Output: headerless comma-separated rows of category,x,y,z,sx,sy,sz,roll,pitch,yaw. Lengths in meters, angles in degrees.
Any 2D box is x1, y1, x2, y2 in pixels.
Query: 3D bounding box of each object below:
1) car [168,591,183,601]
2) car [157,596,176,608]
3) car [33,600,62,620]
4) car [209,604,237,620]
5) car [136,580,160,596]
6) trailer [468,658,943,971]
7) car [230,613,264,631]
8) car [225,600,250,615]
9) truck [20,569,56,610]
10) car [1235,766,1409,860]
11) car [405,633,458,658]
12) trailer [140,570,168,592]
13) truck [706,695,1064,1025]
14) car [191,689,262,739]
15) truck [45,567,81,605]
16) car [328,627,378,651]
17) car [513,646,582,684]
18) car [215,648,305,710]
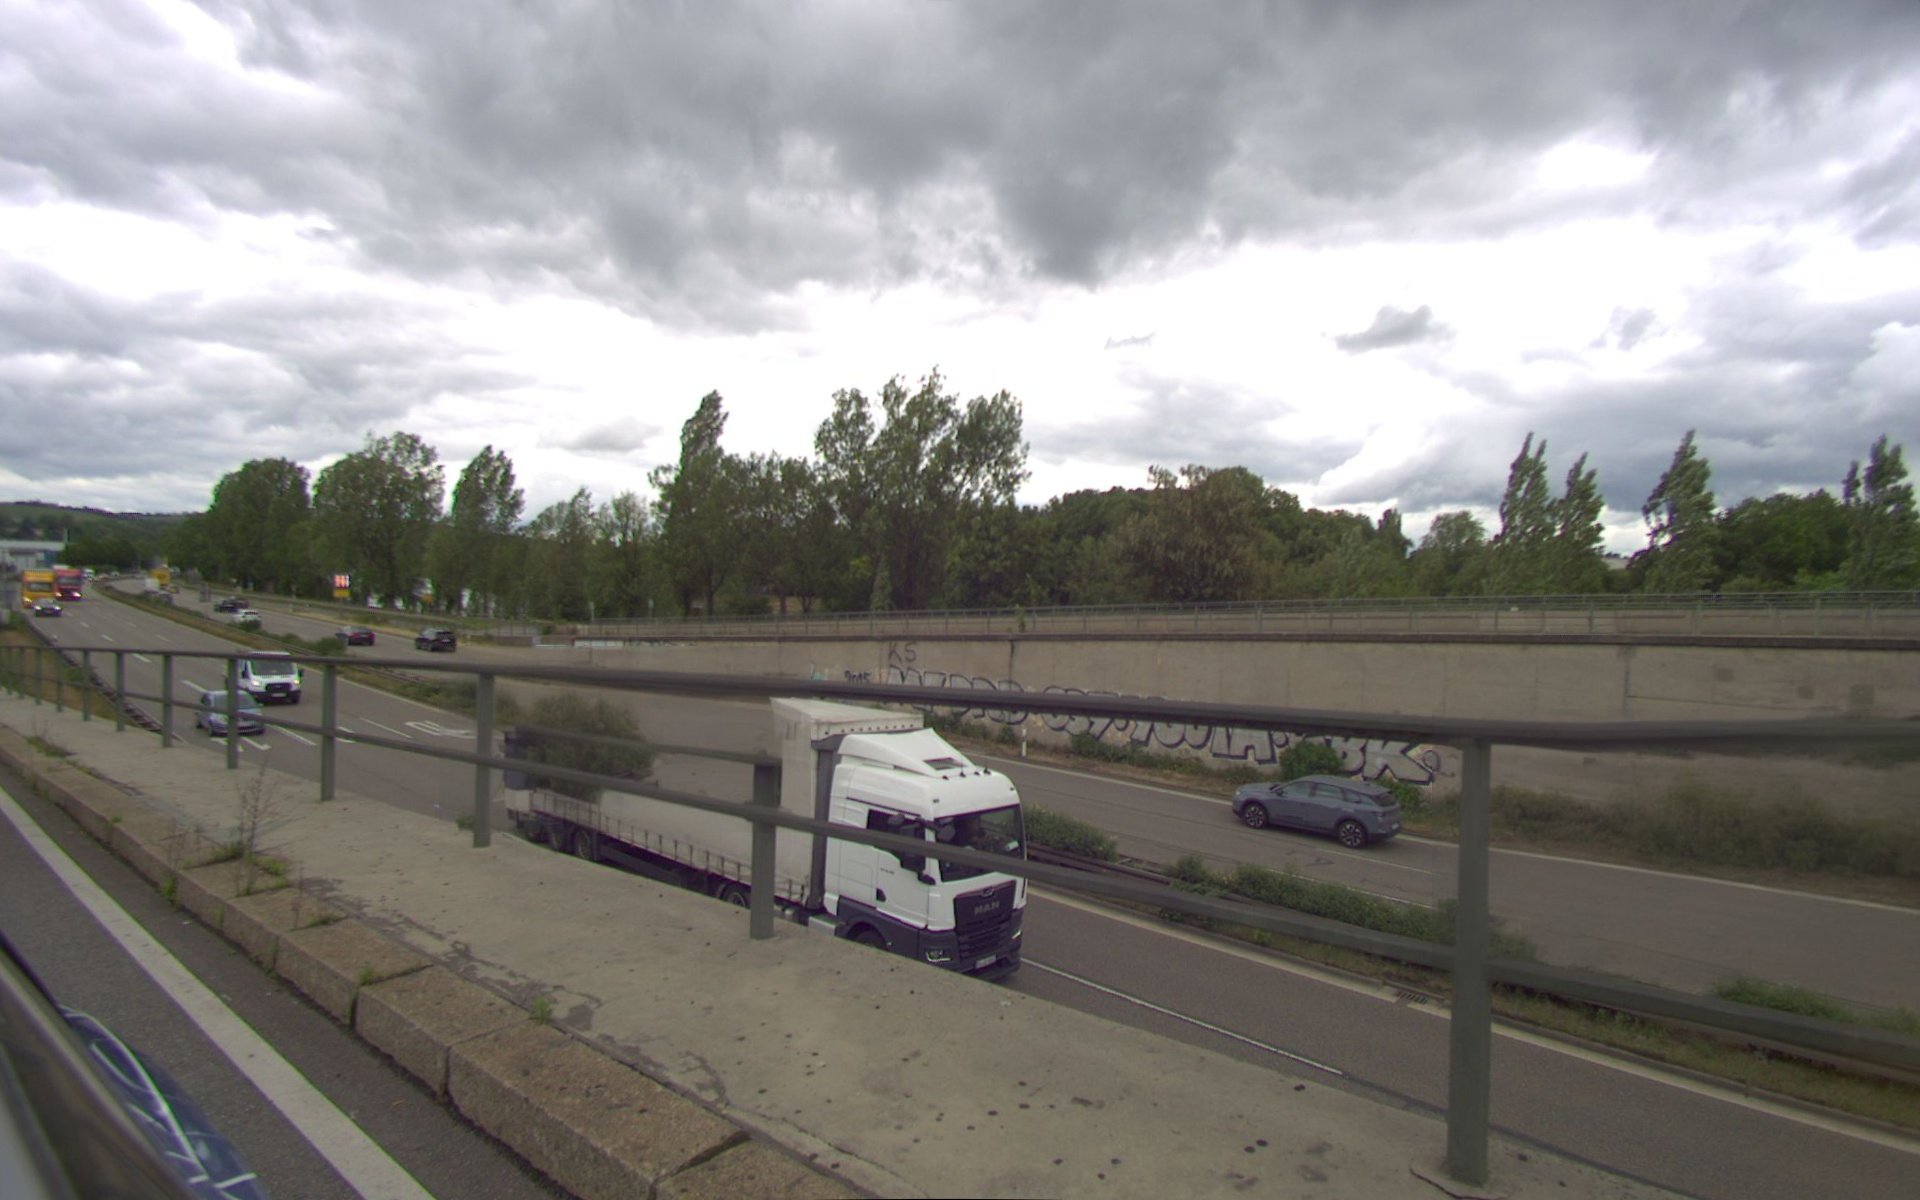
car,-144.329,-0.729,186.182,3.775,1.664,1.640,2,0,45
car,-107.007,0.204,136.419,1.694,1.464,3.654,2,1,-44
car,-87.353,0.943,96.838,4.002,1.679,1.786,3,1,44
car,-85.478,1.379,117.416,4.183,1.731,1.861,2,0,43
car,-141.116,-2.037,175.840,6.101,2.613,2.144,3,1,42
trailer,-6.520,3.884,22.578,13.989,4.140,2.970,3,0,43
car,-67.499,2.105,95.791,3.898,1.505,1.755,2,-1,43
car,-92.342,0.955,129.377,4.636,1.664,1.838,2,0,45
truck,-102.070,-1.180,111.962,8.175,4.153,2.382,3,1,44
car,10.175,5.919,28.618,4.254,1.682,1.693,3,0,41
car,-39.987,3.434,76.562,4.577,1.638,1.973,2,-1,41
trailer,-167.831,-3.956,210.662,3.203,4.294,13.691,2,0,-44
truck,-1.485,4.103,17.933,5.874,4.140,2.970,2,0,43
car,-27.477,4.234,37.888,3.539,1.383,1.492,3,0,43
truck,-118.782,-1.944,133.963,9.922,4.774,2.717,2,-2,44
car,-47.387,3.019,78.971,4.577,1.638,1.973,2,-1,41
car,-25.465,3.969,62.396,4.908,1.921,1.927,2,0,41
car,-32.449,3.560,46.826,6.502,2.259,2.076,3,0,43
